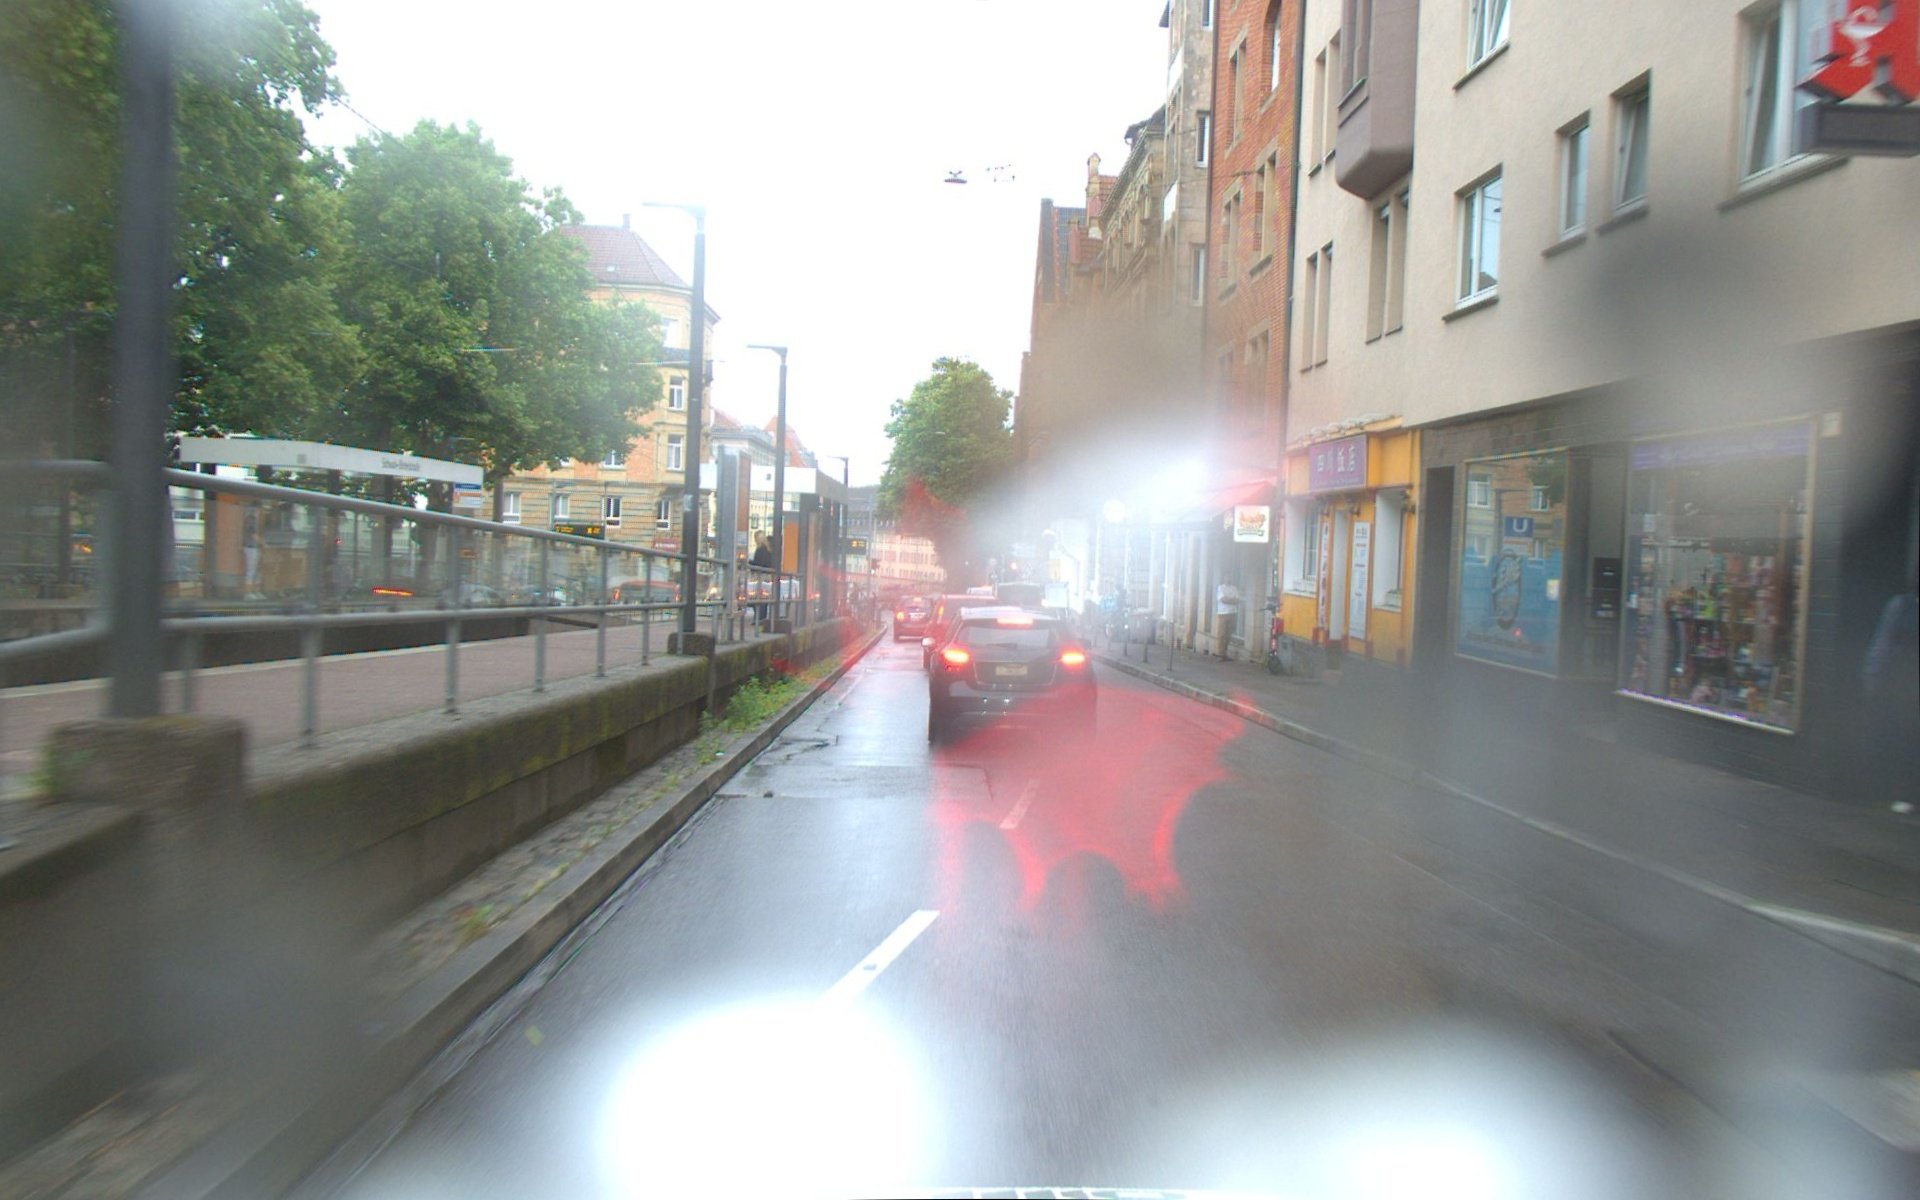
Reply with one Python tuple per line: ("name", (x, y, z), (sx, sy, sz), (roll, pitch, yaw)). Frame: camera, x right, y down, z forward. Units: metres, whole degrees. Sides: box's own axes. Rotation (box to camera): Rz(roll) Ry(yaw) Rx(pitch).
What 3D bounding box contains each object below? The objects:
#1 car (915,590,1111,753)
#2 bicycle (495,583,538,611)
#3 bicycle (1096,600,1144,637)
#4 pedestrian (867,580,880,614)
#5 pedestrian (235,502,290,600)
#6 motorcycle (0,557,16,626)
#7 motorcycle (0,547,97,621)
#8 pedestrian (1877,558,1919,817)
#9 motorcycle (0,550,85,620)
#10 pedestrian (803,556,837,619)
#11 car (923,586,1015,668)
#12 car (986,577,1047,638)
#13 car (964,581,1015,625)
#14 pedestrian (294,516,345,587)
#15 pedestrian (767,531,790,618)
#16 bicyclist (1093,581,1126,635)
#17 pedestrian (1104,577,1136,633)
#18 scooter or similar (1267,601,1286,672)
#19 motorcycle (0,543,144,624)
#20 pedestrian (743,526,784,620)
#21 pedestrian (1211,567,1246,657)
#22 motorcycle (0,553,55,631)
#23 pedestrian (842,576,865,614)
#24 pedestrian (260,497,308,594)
("car", (0.516, 0.705, 18.423), (1.856, 1.414, 4.000), (4, 1, 0))
("bicycle", (-20.030, -0.144, 74.706), (1.838, 1.216, 0.516), (2, 0, -12))
("bicycle", (4.988, 0.569, 51.533), (1.673, 1.135, 0.458), (0, 0, -41))
("pedestrian", (-4.071, -0.144, 77.782), (0.521, 1.557, 0.435), (2, 0, -9))
("pedestrian", (-12.119, -0.847, 28.741), (0.673, 1.670, 0.564), (2, 1, -3))
("motorcycle", (-21.791, -0.248, 34.259), (3.787, 1.431, 1.006), (2, 0, -3))
("motorcycle", (-21.996, -0.393, 38.685), (2.997, 1.656, 1.006), (2, 0, -3))
("pedestrian", (6.691, 0.601, 11.388), (0.451, 1.750, 0.517), (2, -1, 7))
("motorcycle", (-22.079, -0.378, 37.547), (3.787, 1.513, 1.006), (2, 0, -3))
("pedestrian", (-2.840, -0.248, 33.576), (0.601, 1.248, 0.507), (2, 0, 2))
("car", (0.135, 0.503, 33.470), (1.646, 1.515, 3.611), (1, 1, -3))
("car", (1.909, 0.249, 57.176), (1.881, 1.969, 4.685), (2, 0, 0))
("car", (1.294, 0.108, 73.639), (1.895, 1.863, 4.278), (2, 1, -4))
("pedestrian", (-12.861, -0.976, 33.209), (0.762, 1.386, 0.564), (2, 1, -3))
("pedestrian", (-3.424, -0.478, 31.163), (0.401, 1.633, 0.450), (1, 0, -7))
("bicyclist", (4.708, 0.261, 51.966), (0.842, 1.686, 0.622), (1, 0, -40))
("pedestrian", (5.198, 0.158, 53.745), (0.675, 1.784, 0.830), (0, 0, 45))
("scooter or similar", (5.704, 0.640, 29.832), (0.252, 1.243, 1.195), (2, 0, 8))
("motorcycle", (-21.745, -0.410, 40.467), (2.976, 1.847, 0.993), (2, 0, -3))
("pedestrian", (-3.461, -0.473, 29.119), (0.485, 1.633, 0.637), (1, 0, 15))
("pedestrian", (5.672, 0.248, 34.987), (0.566, 1.862, 0.563), (-2, -1, -4))
("motorcycle", (-21.672, -0.242, 35.556), (3.787, 1.633, 1.006), (2, 0, -3))
("pedestrian", (-5.034, -0.238, 77.888), (0.735, 1.754, 0.729), (2, 0, -44))
("pedestrian", (-12.432, -1.001, 30.435), (0.551, 1.745, 0.705), (2, 1, -3))
